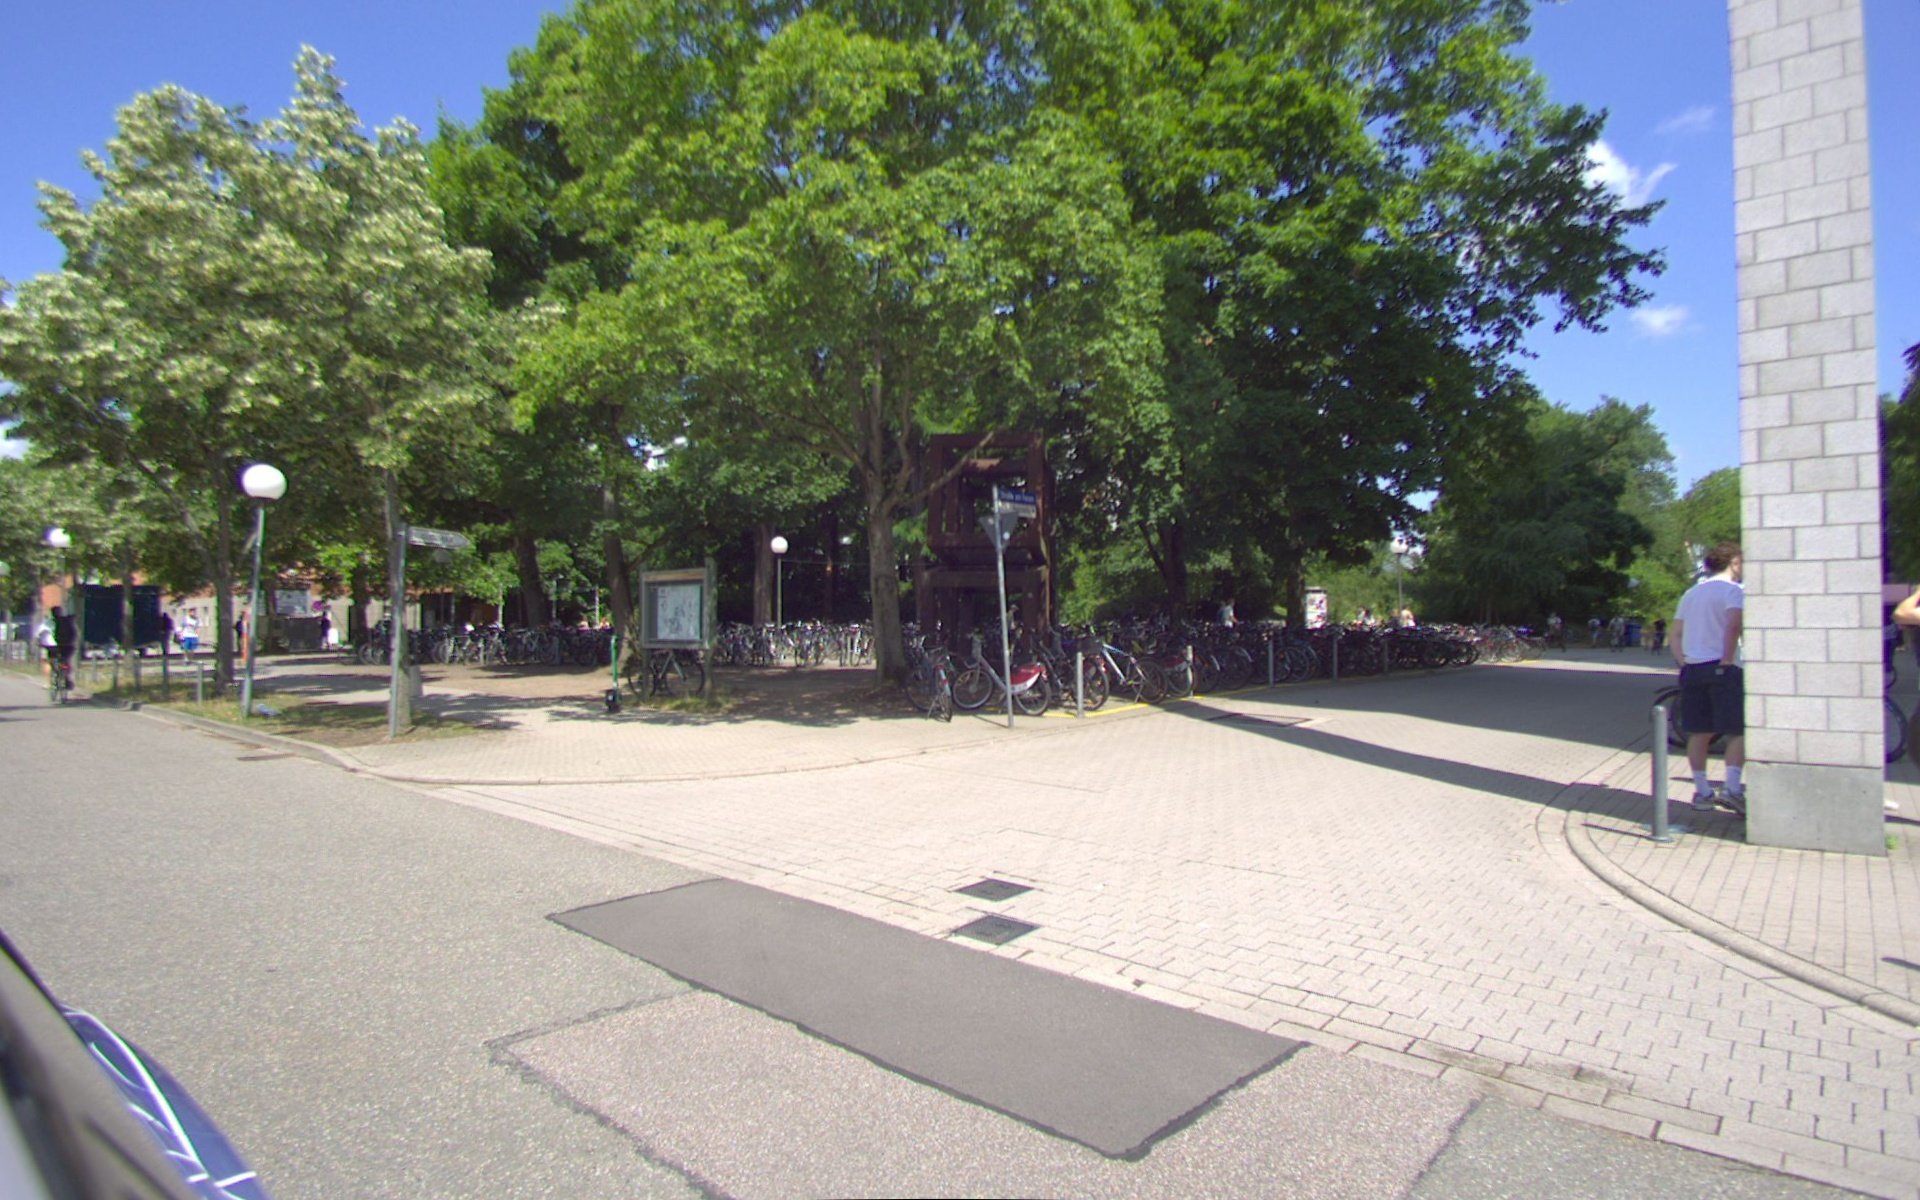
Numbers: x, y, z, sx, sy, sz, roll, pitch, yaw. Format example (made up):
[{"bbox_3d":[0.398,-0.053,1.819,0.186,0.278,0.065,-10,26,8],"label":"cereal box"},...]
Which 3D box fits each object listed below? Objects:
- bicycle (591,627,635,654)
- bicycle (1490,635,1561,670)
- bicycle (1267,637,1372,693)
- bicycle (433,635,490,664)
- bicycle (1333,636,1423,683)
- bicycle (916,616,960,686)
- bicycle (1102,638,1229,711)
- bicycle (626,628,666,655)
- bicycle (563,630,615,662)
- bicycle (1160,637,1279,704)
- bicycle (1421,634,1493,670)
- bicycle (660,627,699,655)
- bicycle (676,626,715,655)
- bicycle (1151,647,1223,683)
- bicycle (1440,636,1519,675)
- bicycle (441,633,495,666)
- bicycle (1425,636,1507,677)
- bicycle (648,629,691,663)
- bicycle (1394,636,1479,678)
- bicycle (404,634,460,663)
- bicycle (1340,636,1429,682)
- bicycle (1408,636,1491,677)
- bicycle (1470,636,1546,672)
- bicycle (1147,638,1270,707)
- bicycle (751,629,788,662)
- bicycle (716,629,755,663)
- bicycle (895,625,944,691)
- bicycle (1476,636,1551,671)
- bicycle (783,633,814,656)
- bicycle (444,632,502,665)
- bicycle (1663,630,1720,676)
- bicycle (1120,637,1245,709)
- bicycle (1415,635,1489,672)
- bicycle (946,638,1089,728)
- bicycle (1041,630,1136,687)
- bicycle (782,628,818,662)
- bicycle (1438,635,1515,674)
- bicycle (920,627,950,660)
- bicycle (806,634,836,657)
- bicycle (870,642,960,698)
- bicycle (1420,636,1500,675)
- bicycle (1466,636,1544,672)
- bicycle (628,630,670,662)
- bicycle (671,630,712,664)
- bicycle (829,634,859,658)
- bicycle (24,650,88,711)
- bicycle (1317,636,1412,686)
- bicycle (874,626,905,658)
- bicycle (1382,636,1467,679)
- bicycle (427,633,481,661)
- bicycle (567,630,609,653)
[{"bbox_3d":[-14.979,1.738,43.709,0.594,1.099,1.939,0,-1,28],"label":"bicycle"},{"bbox_3d":[18.728,1.735,33.545,1.972,1.095,0.546,-2,-1,42],"label":"bicycle"},{"bbox_3d":[7.405,1.317,20.927,1.972,1.095,0.546,-2,-1,42],"label":"bicycle"},{"bbox_3d":[-18.647,1.826,37.879,0.535,1.011,1.947,-2,-1,31],"label":"bicycle"},{"bbox_3d":[10.258,1.434,24.884,1.972,1.095,0.546,-2,-1,42],"label":"bicycle"},{"bbox_3d":[-0.468,1.094,22.422,0.600,1.461,2.284,-1,-1,8],"label":"bicycle"},{"bbox_3d":[3.264,1.161,16.205,1.972,1.095,0.546,-2,-1,42],"label":"bicycle"},{"bbox_3d":[-13.293,1.741,42.866,0.592,1.099,1.946,0,-1,19],"label":"bicycle"},{"bbox_3d":[-13.311,1.647,36.406,0.544,1.097,1.951,-2,-1,24],"label":"bicycle"},{"bbox_3d":[4.549,1.212,17.850,1.972,1.095,0.546,-2,-1,42],"label":"bicycle"},{"bbox_3d":[15.996,1.669,32.619,1.972,1.095,0.610,-2,-1,42],"label":"bicycle"},{"bbox_3d":[-11.610,1.666,41.959,0.592,1.099,1.946,0,-1,19],"label":"bicycle"},{"bbox_3d":[-10.872,1.654,41.644,0.592,1.099,1.946,0,-1,19],"label":"bicycle"},{"bbox_3d":[5.080,1.449,22.676,1.542,0.768,0.322,-1,-1,9],"label":"bicycle"},{"bbox_3d":[15.163,1.606,29.571,1.972,1.095,0.546,-2,-1,42],"label":"bicycle"},{"bbox_3d":[-17.243,1.723,35.497,0.543,1.097,1.848,-2,-1,20],"label":"bicycle"},{"bbox_3d":[14.236,1.571,28.518,1.972,1.095,0.546,-2,-1,42],"label":"bicycle"},{"bbox_3d":[-10.061,1.574,35.124,0.541,1.097,1.959,-1,-1,12],"label":"bicycle"},{"bbox_3d":[12.851,1.524,27.317,1.972,1.095,0.546,-2,-1,42],"label":"bicycle"},{"bbox_3d":[-19.814,1.816,37.973,0.537,1.022,1.782,-2,-2,44],"label":"bicycle"},{"bbox_3d":[10.638,1.462,25.386,1.972,1.095,0.546,-2,-1,42],"label":"bicycle"},{"bbox_3d":[13.514,1.548,28.002,1.972,1.095,0.546,-2,-1,42],"label":"bicycle"},{"bbox_3d":[16.742,1.638,30.939,1.970,1.031,0.611,-2,-1,37],"label":"bicycle"},{"bbox_3d":[4.163,1.193,17.074,1.972,1.095,0.546,-2,-1,42],"label":"bicycle"},{"bbox_3d":[-6.613,1.568,35.195,0.541,1.097,1.959,-1,-1,12],"label":"bicycle"},{"bbox_3d":[-7.772,1.584,35.048,0.541,1.097,1.959,-1,-1,12],"label":"bicycle"},{"bbox_3d":[-0.782,1.144,20.224,0.581,1.263,2.015,-1,-3,9],"label":"bicycle"},{"bbox_3d":[17.156,1.656,31.392,1.970,1.031,0.611,-2,-1,37],"label":"bicycle"},{"bbox_3d":[-6.578,1.808,41.271,0.416,0.900,1.755,-2,-1,21],"label":"bicycle"},{"bbox_3d":[-17.878,1.780,37.158,0.535,1.134,1.947,-2,-1,31],"label":"bicycle"},{"bbox_3d":[20.868,1.490,28.846,0.885,1.209,2.709,-2,-2,45],"label":"bicycle"},{"bbox_3d":[3.641,1.176,16.675,1.972,1.095,0.546,-2,-1,42],"label":"bicycle"},{"bbox_3d":[15.395,1.649,31.671,1.972,1.095,0.610,-2,-1,42],"label":"bicycle"},{"bbox_3d":[0.729,1.068,13.457,1.972,1.095,0.546,-2,-1,42],"label":"bicycle"},{"bbox_3d":[2.404,1.086,19.113,1.850,1.040,0.470,-2,-2,43],"label":"bicycle"},{"bbox_3d":[-5.500,1.535,34.945,0.541,1.097,1.959,-1,-1,12],"label":"bicycle"},{"bbox_3d":[15.448,1.623,30.302,1.972,1.095,0.546,-2,-1,42],"label":"bicycle"},{"bbox_3d":[-0.981,1.696,39.479,0.421,1.216,1.782,-2,-1,24],"label":"bicycle"},{"bbox_3d":[-5.629,1.834,41.069,0.416,0.900,1.755,-2,-1,21],"label":"bicycle"},{"bbox_3d":[-0.828,1.259,18.417,1.650,0.972,0.472,-1,-2,31],"label":"bicycle"},{"bbox_3d":[14.418,1.585,29.205,1.972,1.095,0.546,-2,-1,42],"label":"bicycle"},{"bbox_3d":[16.369,1.622,30.398,1.970,1.031,0.611,-2,-1,37],"label":"bicycle"},{"bbox_3d":[-11.027,1.617,35.971,0.541,1.097,1.959,-1,-1,12],"label":"bicycle"},{"bbox_3d":[-9.133,1.575,34.496,0.541,1.097,1.959,-1,-1,12],"label":"bicycle"},{"bbox_3d":[-4.654,1.838,40.842,0.416,0.900,1.755,-2,-1,21],"label":"bicycle"},{"bbox_3d":[-18.237,1.596,20.395,1.887,1.138,0.678,-2,-3,40],"label":"bicycle"},{"bbox_3d":[9.416,1.398,23.618,1.972,1.095,0.546,-2,-1,42],"label":"bicycle"},{"bbox_3d":[-2.780,1.659,40.155,0.421,1.216,1.782,-2,-1,24],"label":"bicycle"},{"bbox_3d":[12.324,1.507,26.895,1.972,1.095,0.546,-2,-1,42],"label":"bicycle"},{"bbox_3d":[-19.562,1.823,39.130,0.538,1.022,1.782,-2,-2,44],"label":"bicycle"},{"bbox_3d":[-16.225,1.789,44.186,0.544,0.949,1.866,0,-1,28],"label":"bicycle"}]
